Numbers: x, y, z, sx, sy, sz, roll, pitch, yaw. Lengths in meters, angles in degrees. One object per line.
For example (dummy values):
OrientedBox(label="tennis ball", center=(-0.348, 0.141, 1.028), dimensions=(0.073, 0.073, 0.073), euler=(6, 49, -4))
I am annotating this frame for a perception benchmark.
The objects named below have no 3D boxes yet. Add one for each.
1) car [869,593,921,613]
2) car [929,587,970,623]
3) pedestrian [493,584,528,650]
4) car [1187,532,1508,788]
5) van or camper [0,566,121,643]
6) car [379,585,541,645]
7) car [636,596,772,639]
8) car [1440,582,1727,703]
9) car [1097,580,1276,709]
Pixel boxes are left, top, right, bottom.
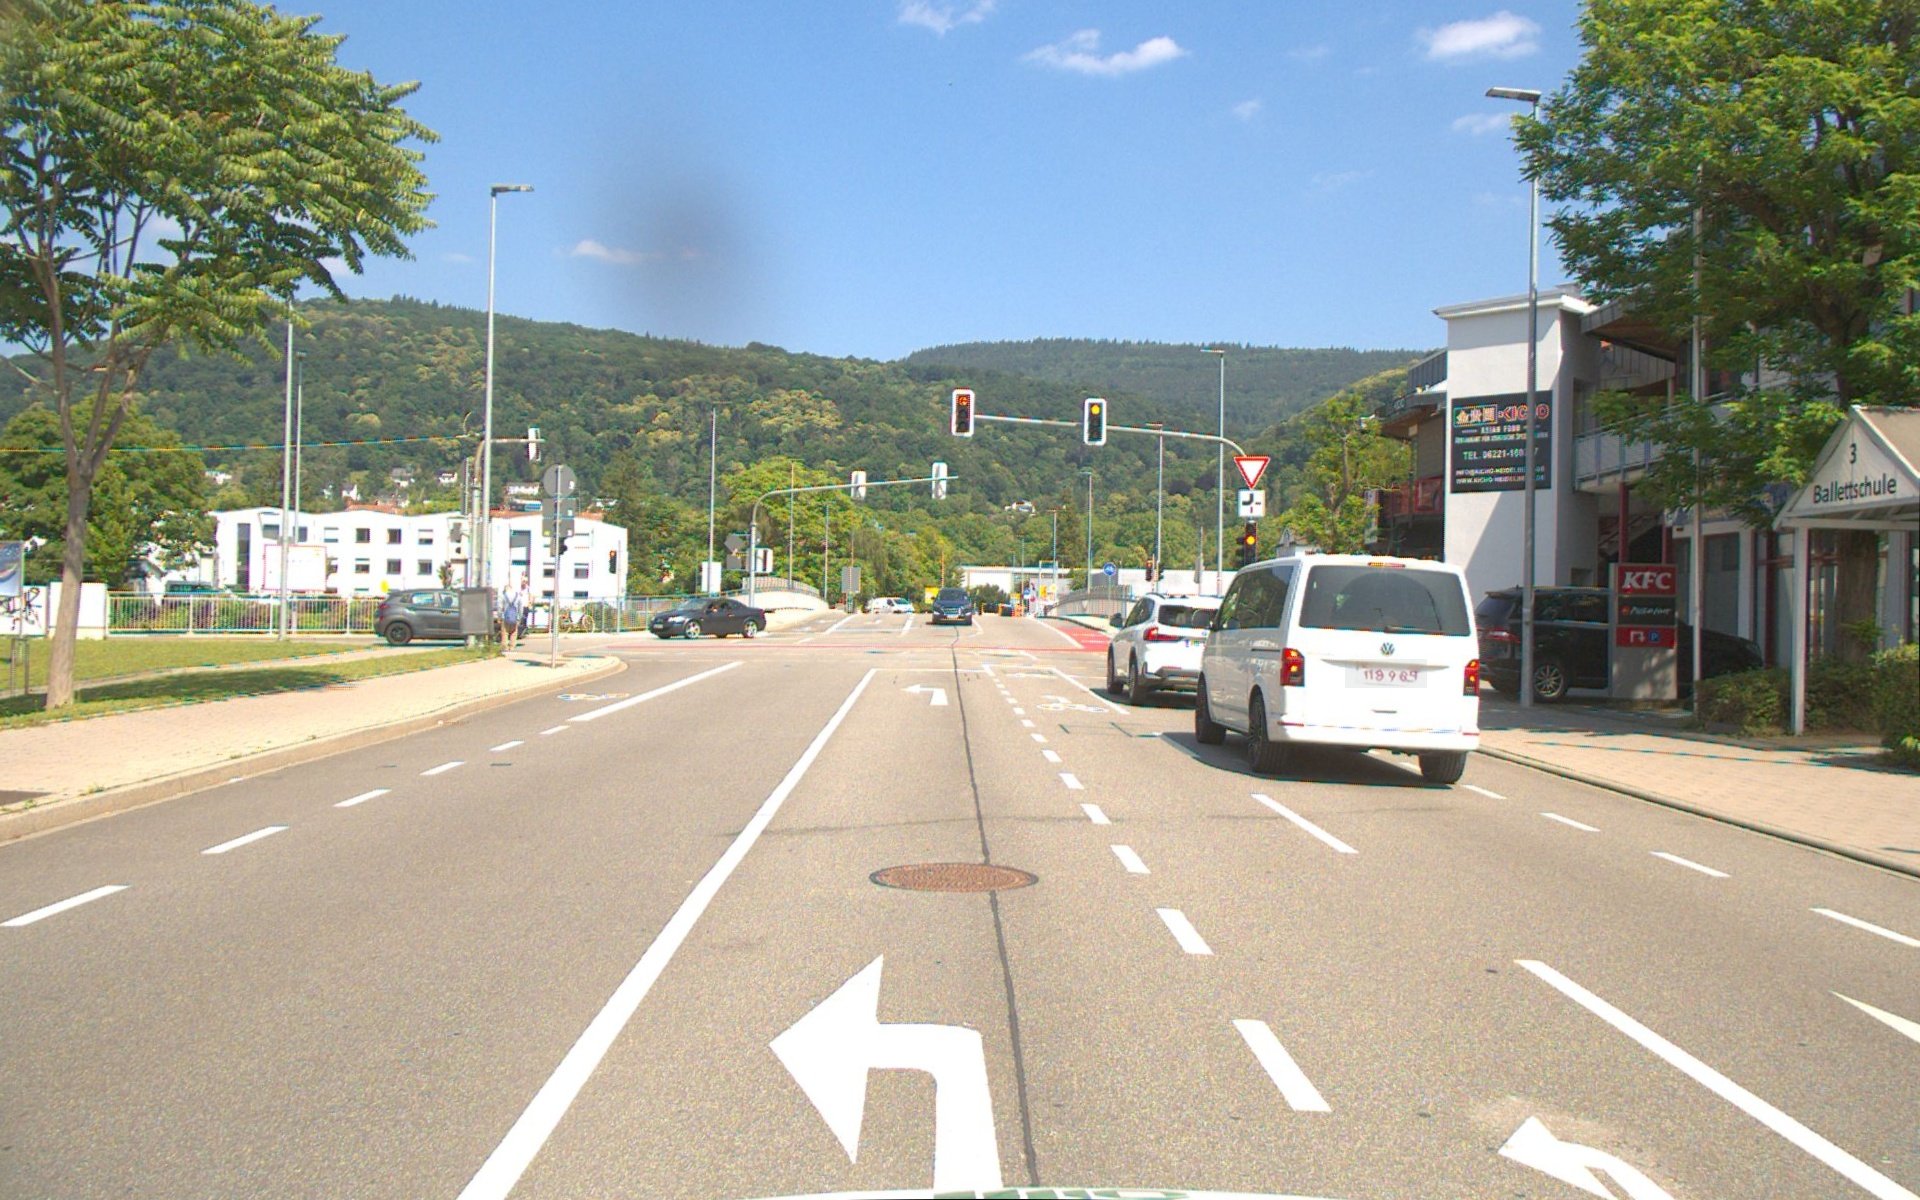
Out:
OrientedBox(label="car", center=(-5.505, 0.269, 139.217), dimensions=(4.383, 1.616, 1.844), euler=(1, 0, 43))
OrientedBox(label="car", center=(-0.477, 0.211, 75.851), dimensions=(1.812, 1.616, 4.000), euler=(1, 0, -1))
OrientedBox(label="pedestrian", center=(-10.989, 0.414, 40.431), dimensions=(0.684, 1.601, 0.675), euler=(1, 0, -3))
OrientedBox(label="car", center=(3.588, 0.478, 16.248), dimensions=(1.896, 2.095, 4.543), euler=(2, 1, -2))
OrientedBox(label="van or camper", center=(-21.909, 0.062, 38.460), dimensions=(3.927, 1.601, 1.990), euler=(3, 0, -19))
OrientedBox(label="car", center=(-13.955, 0.407, 46.339), dimensions=(4.245, 1.620, 1.991), euler=(1, 0, -16))
OrientedBox(label="car", center=(-8.695, 0.566, 56.445), dimensions=(1.966, 1.394, 4.297), euler=(1, 1, 43))
OrientedBox(label="car", center=(9.906, 0.648, 26.550), dimensions=(3.903, 1.806, 2.001), euler=(1, 0, 5))
OrientedBox(label="car", center=(3.370, 0.609, 25.446), dimensions=(1.896, 1.716, 4.542), euler=(3, 0, -2))
